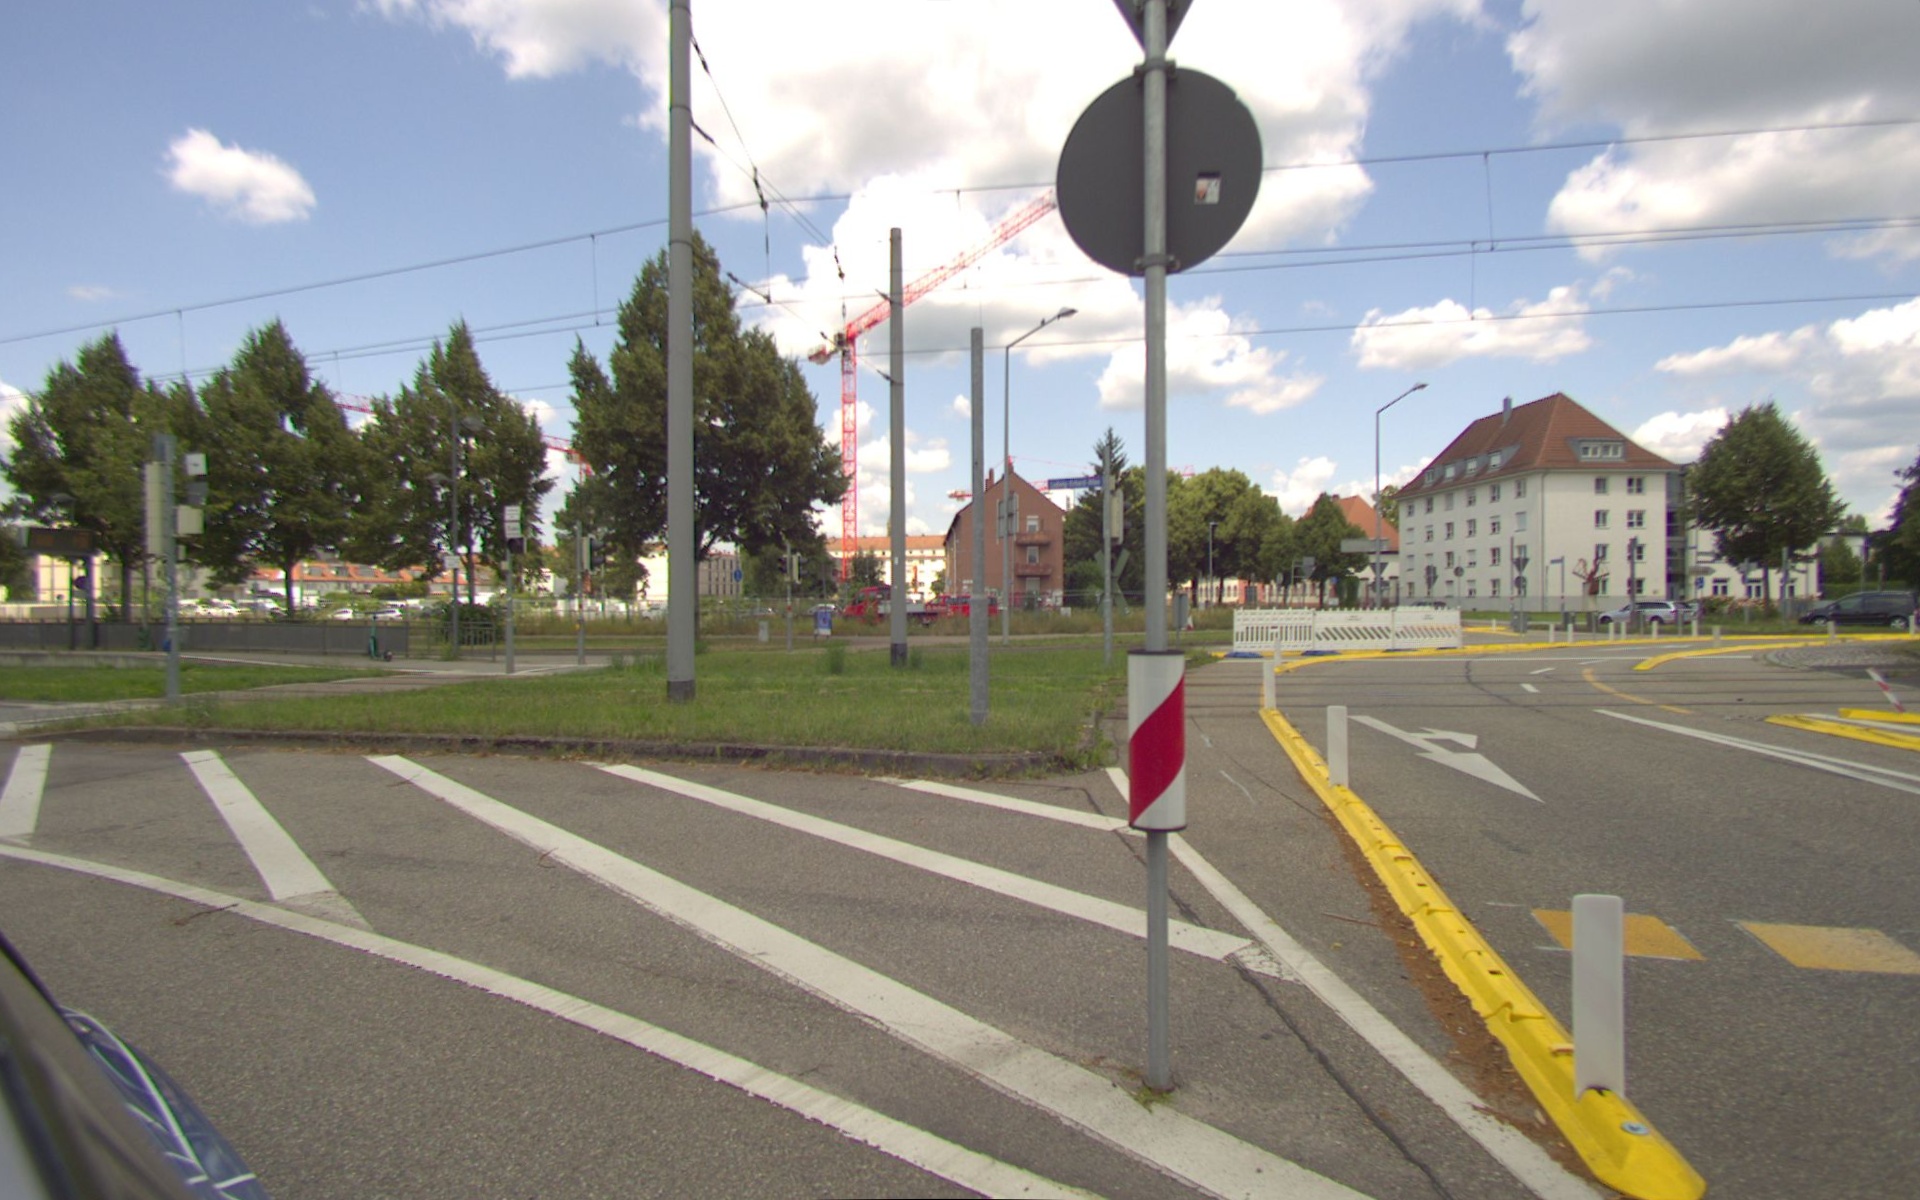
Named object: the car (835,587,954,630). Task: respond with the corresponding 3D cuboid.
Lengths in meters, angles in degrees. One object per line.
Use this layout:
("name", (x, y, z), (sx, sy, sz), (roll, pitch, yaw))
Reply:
("car", (-3.673, 0.501, 55.717), (6.835, 2.214, 2.362), (-1, 0, 41))

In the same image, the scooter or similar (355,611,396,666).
("scooter or similar", (-14.802, 0.970, 25.629), (1.344, 1.312, 0.414), (2, 1, 38))

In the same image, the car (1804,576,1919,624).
("car", (40.092, 0.007, 44.144), (1.969, 2.029, 4.733), (-1, -1, -41))

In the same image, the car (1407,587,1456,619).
("car", (32.121, 0.194, 69.132), (1.980, 2.029, 4.707), (-1, 0, 12))

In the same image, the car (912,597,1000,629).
("car", (-0.274, 0.820, 61.749), (5.175, 1.866, 2.062), (-1, 0, 37))

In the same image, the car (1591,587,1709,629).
("car", (35.614, 0.419, 52.400), (1.965, 2.029, 4.741), (-1, 0, -20))
